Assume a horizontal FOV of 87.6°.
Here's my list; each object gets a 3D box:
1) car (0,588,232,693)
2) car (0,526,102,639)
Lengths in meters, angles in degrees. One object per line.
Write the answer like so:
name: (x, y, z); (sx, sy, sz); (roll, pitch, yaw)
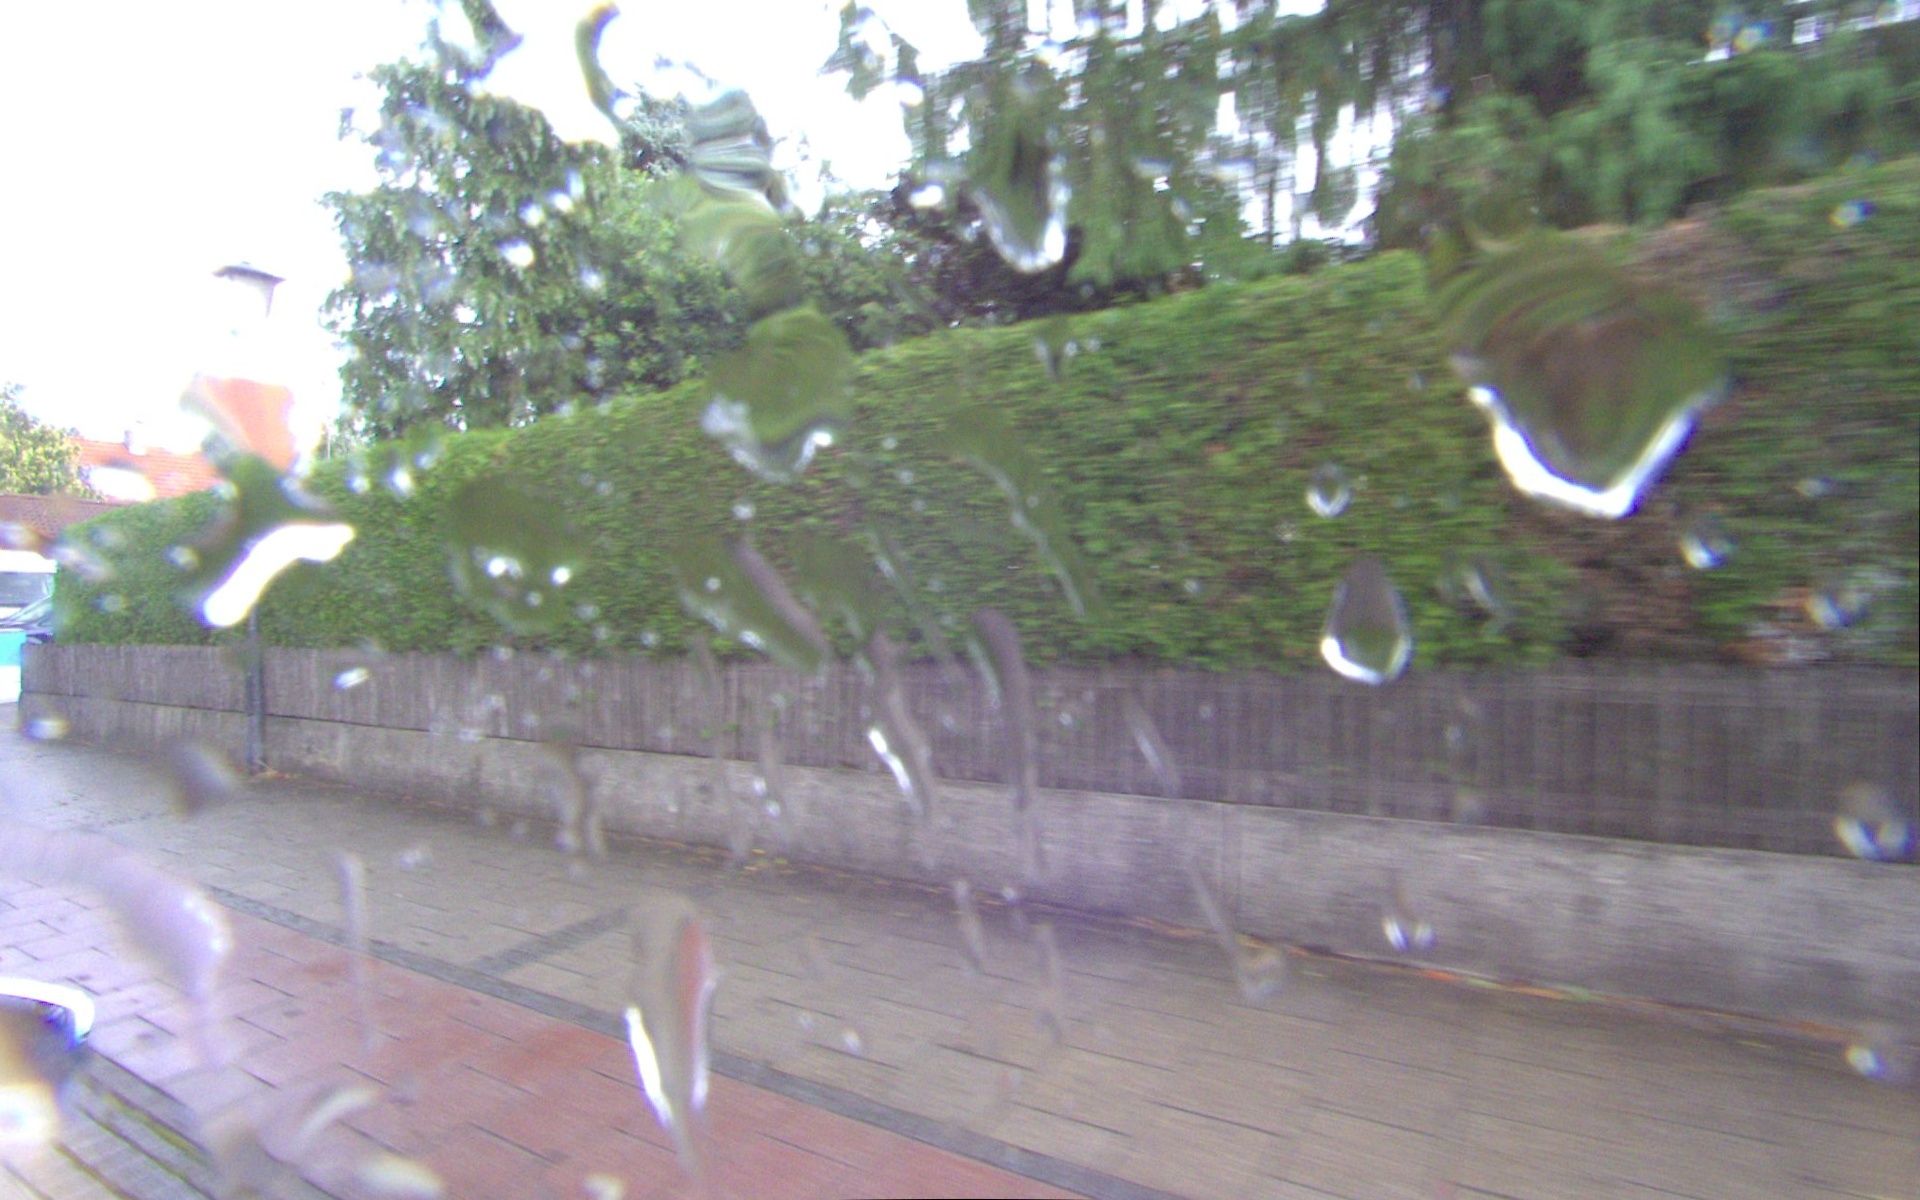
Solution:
car: (-16.485, 0.686, 18.943); (1.668, 1.775, 4.087); (2, 1, 30)
car: (-20.941, -0.275, 21.265); (4.867, 2.201, 1.997); (-1, -2, 20)
